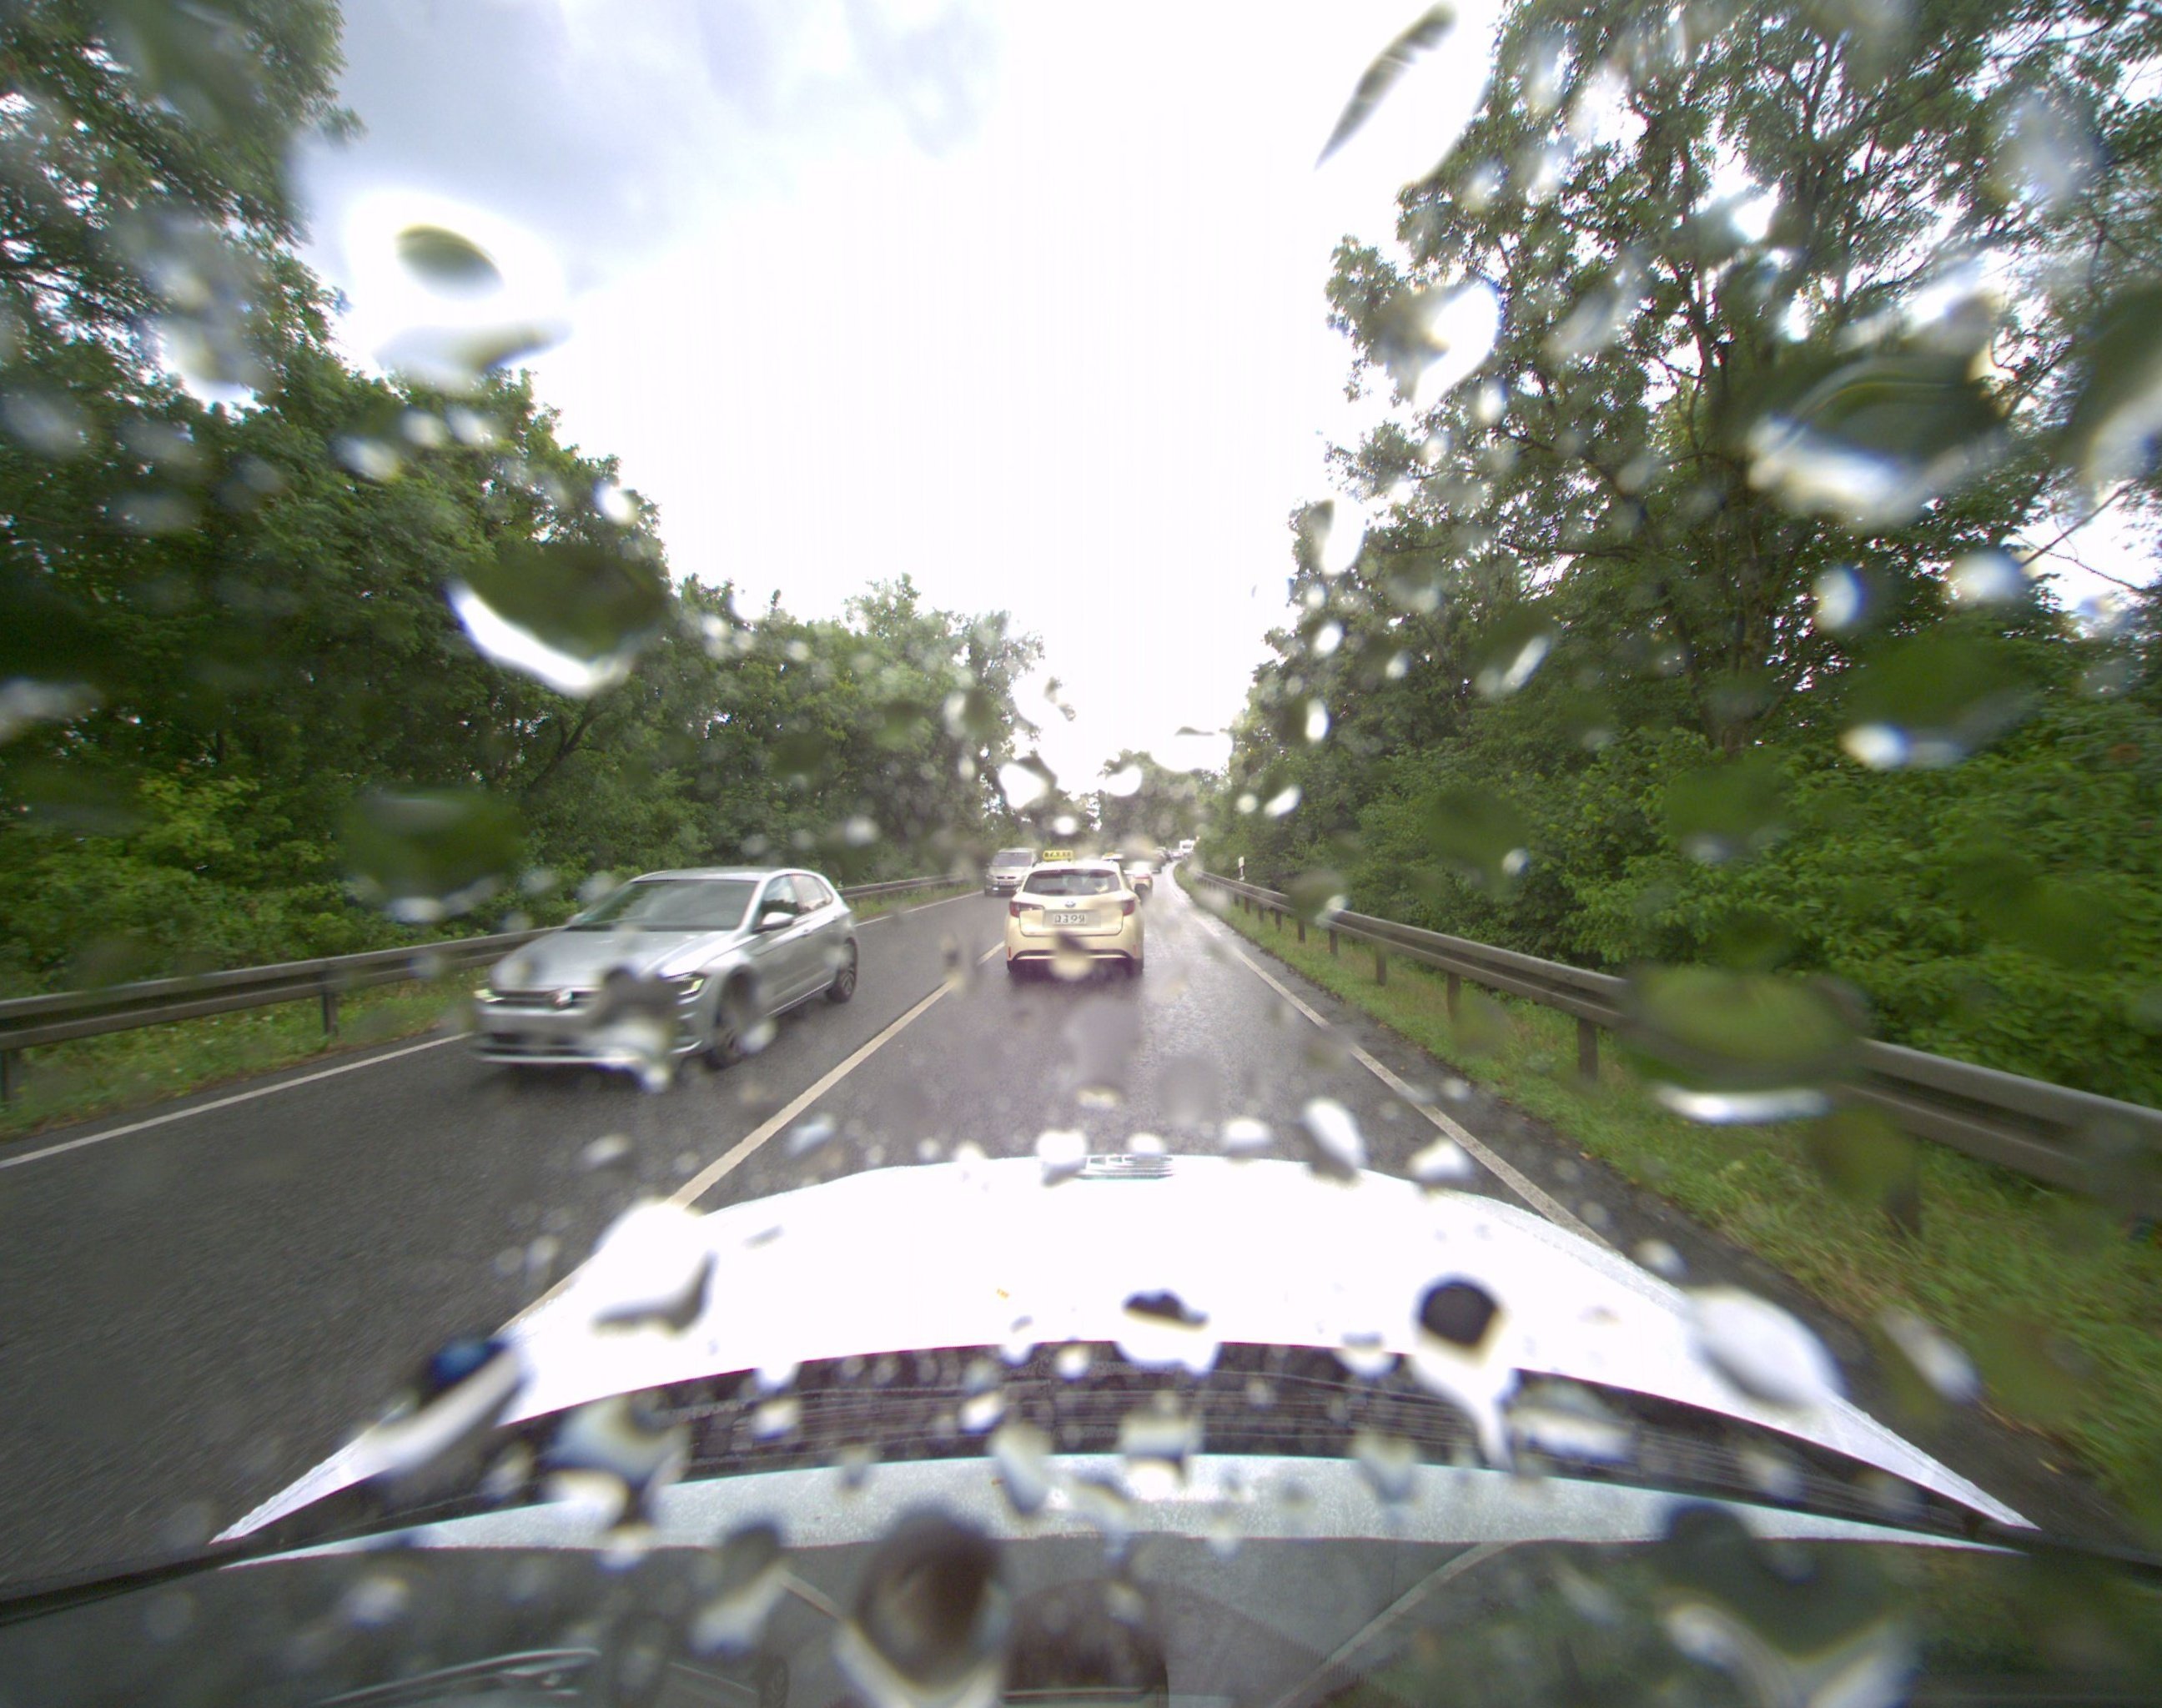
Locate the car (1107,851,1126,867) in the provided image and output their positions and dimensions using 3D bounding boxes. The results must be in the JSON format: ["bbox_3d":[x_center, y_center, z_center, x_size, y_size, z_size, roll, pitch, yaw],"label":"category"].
[{"bbox_3d":[3.683,0.518,84.289,1.799,1.532,4.210,-1,0,4],"label":"car"}]

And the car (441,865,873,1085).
[{"bbox_3d":[-3.315,0.829,7.327,1.721,1.431,3.852,-1,-1,3],"label":"car"}]

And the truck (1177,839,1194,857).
[{"bbox_3d":[17.482,-0.953,136.425,2.537,2.713,7.546,-1,-1,5],"label":"truck"}]

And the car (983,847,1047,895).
[{"bbox_3d":[-2.392,0.618,30.702,1.807,1.686,4.625,-1,-1,3],"label":"car"}]

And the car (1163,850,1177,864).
[{"bbox_3d":[10.223,0.339,93.587,1.608,1.613,3.627,-1,-1,6],"label":"car"}]

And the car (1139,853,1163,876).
[{"bbox_3d":[4.989,0.779,57.980,1.603,1.547,3.819,-1,-1,5],"label":"car"}]

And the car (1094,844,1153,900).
[{"bbox_3d":[1.307,0.540,25.096,1.660,1.580,3.895,-1,-1,3],"label":"car"}]

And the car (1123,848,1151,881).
[{"bbox_3d":[2.769,0.516,40.281,1.295,1.547,3.263,-1,-1,4],"label":"car"}]

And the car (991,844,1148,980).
[{"bbox_3d":[-0.028,0.703,11.636,1.826,1.580,4.160,-1,-1,3],"label":"car"}]

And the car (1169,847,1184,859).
[{"bbox_3d":[13.182,-0.139,111.840,1.758,1.547,3.825,-1,-1,10],"label":"car"}]

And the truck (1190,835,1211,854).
[{"bbox_3d":[24.454,-1.947,166.679,3.082,3.680,7.031,-1,-1,17],"label":"truck"}]

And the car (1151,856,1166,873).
[{"bbox_3d":[7.363,0.966,77.476,1.159,1.547,2.612,-1,-1,11],"label":"car"}]

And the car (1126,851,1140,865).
[{"bbox_3d":[7.746,0.544,120.142,1.984,2.014,4.005,-1,-1,5],"label":"car"}]
